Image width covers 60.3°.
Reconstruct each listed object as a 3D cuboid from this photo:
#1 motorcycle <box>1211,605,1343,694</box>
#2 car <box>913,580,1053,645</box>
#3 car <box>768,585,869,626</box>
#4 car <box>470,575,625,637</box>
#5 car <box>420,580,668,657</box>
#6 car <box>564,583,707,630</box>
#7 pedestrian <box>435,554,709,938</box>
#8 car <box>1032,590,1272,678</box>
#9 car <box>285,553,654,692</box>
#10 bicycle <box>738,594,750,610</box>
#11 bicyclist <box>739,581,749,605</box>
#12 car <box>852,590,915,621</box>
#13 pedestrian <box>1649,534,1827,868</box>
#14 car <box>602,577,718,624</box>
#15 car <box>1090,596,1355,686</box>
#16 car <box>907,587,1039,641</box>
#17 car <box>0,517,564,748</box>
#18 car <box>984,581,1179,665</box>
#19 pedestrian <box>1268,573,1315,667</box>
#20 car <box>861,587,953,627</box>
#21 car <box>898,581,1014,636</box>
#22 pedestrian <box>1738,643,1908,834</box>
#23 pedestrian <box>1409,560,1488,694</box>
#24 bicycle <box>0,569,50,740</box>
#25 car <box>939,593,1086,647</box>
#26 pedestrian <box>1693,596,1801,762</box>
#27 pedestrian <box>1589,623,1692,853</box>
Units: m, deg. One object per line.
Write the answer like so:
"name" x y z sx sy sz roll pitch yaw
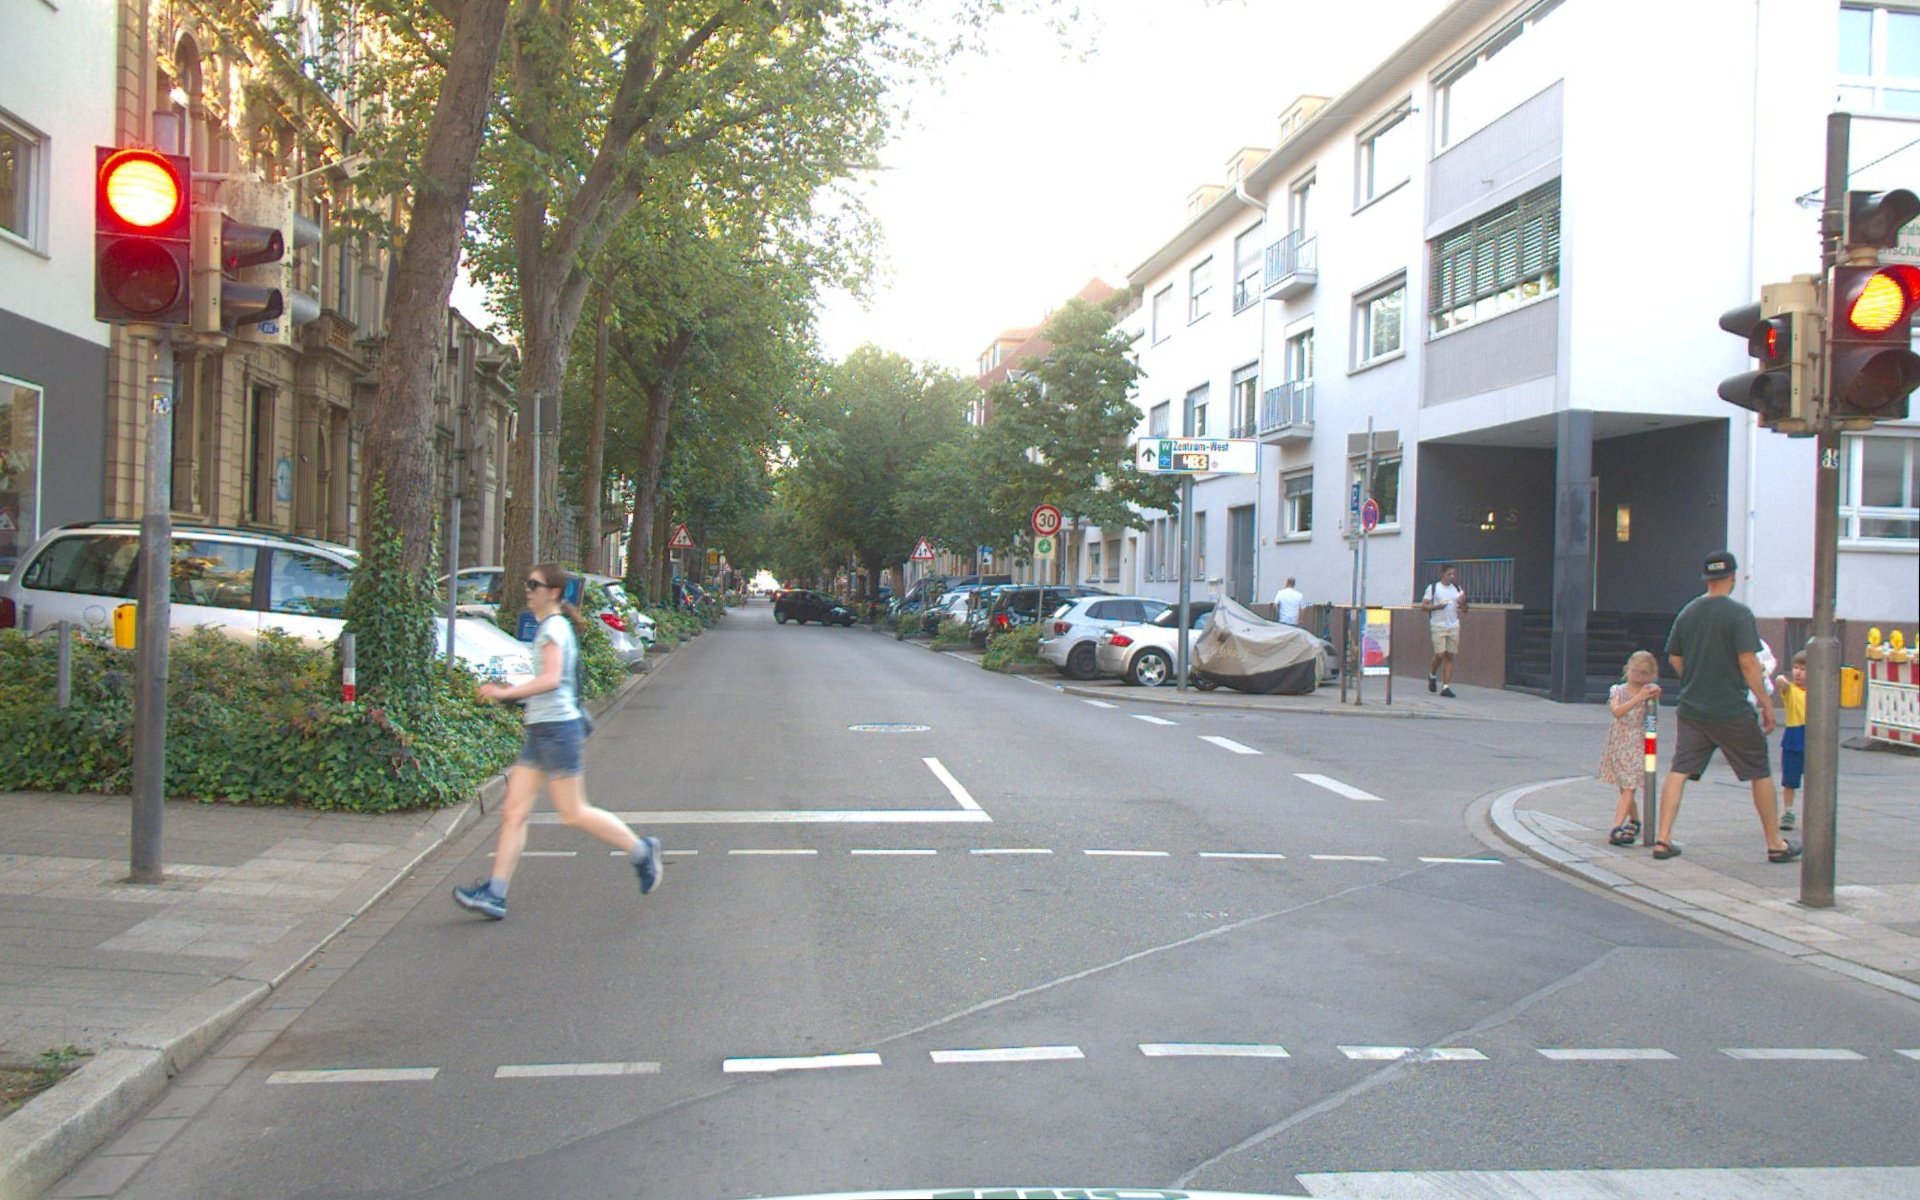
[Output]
"motorcycle" 4.512 0.694 23.619 1.762 1.220 0.613 1 0 2
"car" 0.659 0.358 49.100 3.938 1.847 1.704 1 0 -7
"car" -6.153 0.243 71.843 3.902 1.605 1.907 2 0 28
"car" -11.496 0.162 46.279 3.961 1.618 1.831 1 0 -7
"car" -8.051 0.357 32.345 4.461 1.396 1.831 1 0 -7
"car" -10.689 0.211 54.672 4.461 1.434 1.831 1 0 -7
"pedestrian" -1.742 0.607 7.429 0.970 1.584 0.692 2 0 -38
"car" 3.354 0.587 29.330 3.938 1.467 1.704 1 0 -7
"car" -6.450 0.297 22.191 4.461 1.718 1.831 1 0 -7
"bicycle" -13.452 0.122 103.065 0.561 0.966 1.739 2 -1 -13
"bicyclist" -13.477 -0.431 103.262 0.561 1.495 0.641 2 -1 -13
"car" -4.953 0.361 106.592 3.938 1.862 1.704 2 0 -7
"pedestrian" 4.573 0.537 9.716 0.778 1.847 0.888 2 2 35
"car" -12.105 0.019 66.975 4.461 1.721 1.831 2 0 -7
"car" 4.201 0.647 26.819 3.937 1.366 1.704 1 0 -7
"car" 0.374 0.433 51.939 3.938 1.556 1.704 2 0 -7
"car" -5.890 0.288 14.661 4.465 1.867 1.829 1 0 -10
"car" 2.587 0.479 35.728 3.938 1.720 1.704 1 0 -7
"pedestrian" 6.455 0.377 32.210 0.690 1.782 0.699 2 0 -3
"car" -2.389 0.305 73.985 3.938 1.630 1.704 2 0 -7
"car" -0.176 0.295 59.266 3.938 1.862 1.704 2 0 -7
"pedestrian" 5.587 0.874 10.744 0.556 1.140 0.833 0 1 -17
"pedestrian" 7.046 0.379 23.889 0.752 1.873 0.942 2 0 -6
"bicycle" -7.060 0.378 11.017 0.720 1.207 2.631 3 0 -6
"car" 1.454 0.558 46.882 3.938 1.434 1.704 1 0 -7
"pedestrian" 7.639 0.741 16.050 0.761 1.527 0.798 2 1 37
"pedestrian" 4.230 0.838 10.308 0.494 1.359 0.541 2 0 16
